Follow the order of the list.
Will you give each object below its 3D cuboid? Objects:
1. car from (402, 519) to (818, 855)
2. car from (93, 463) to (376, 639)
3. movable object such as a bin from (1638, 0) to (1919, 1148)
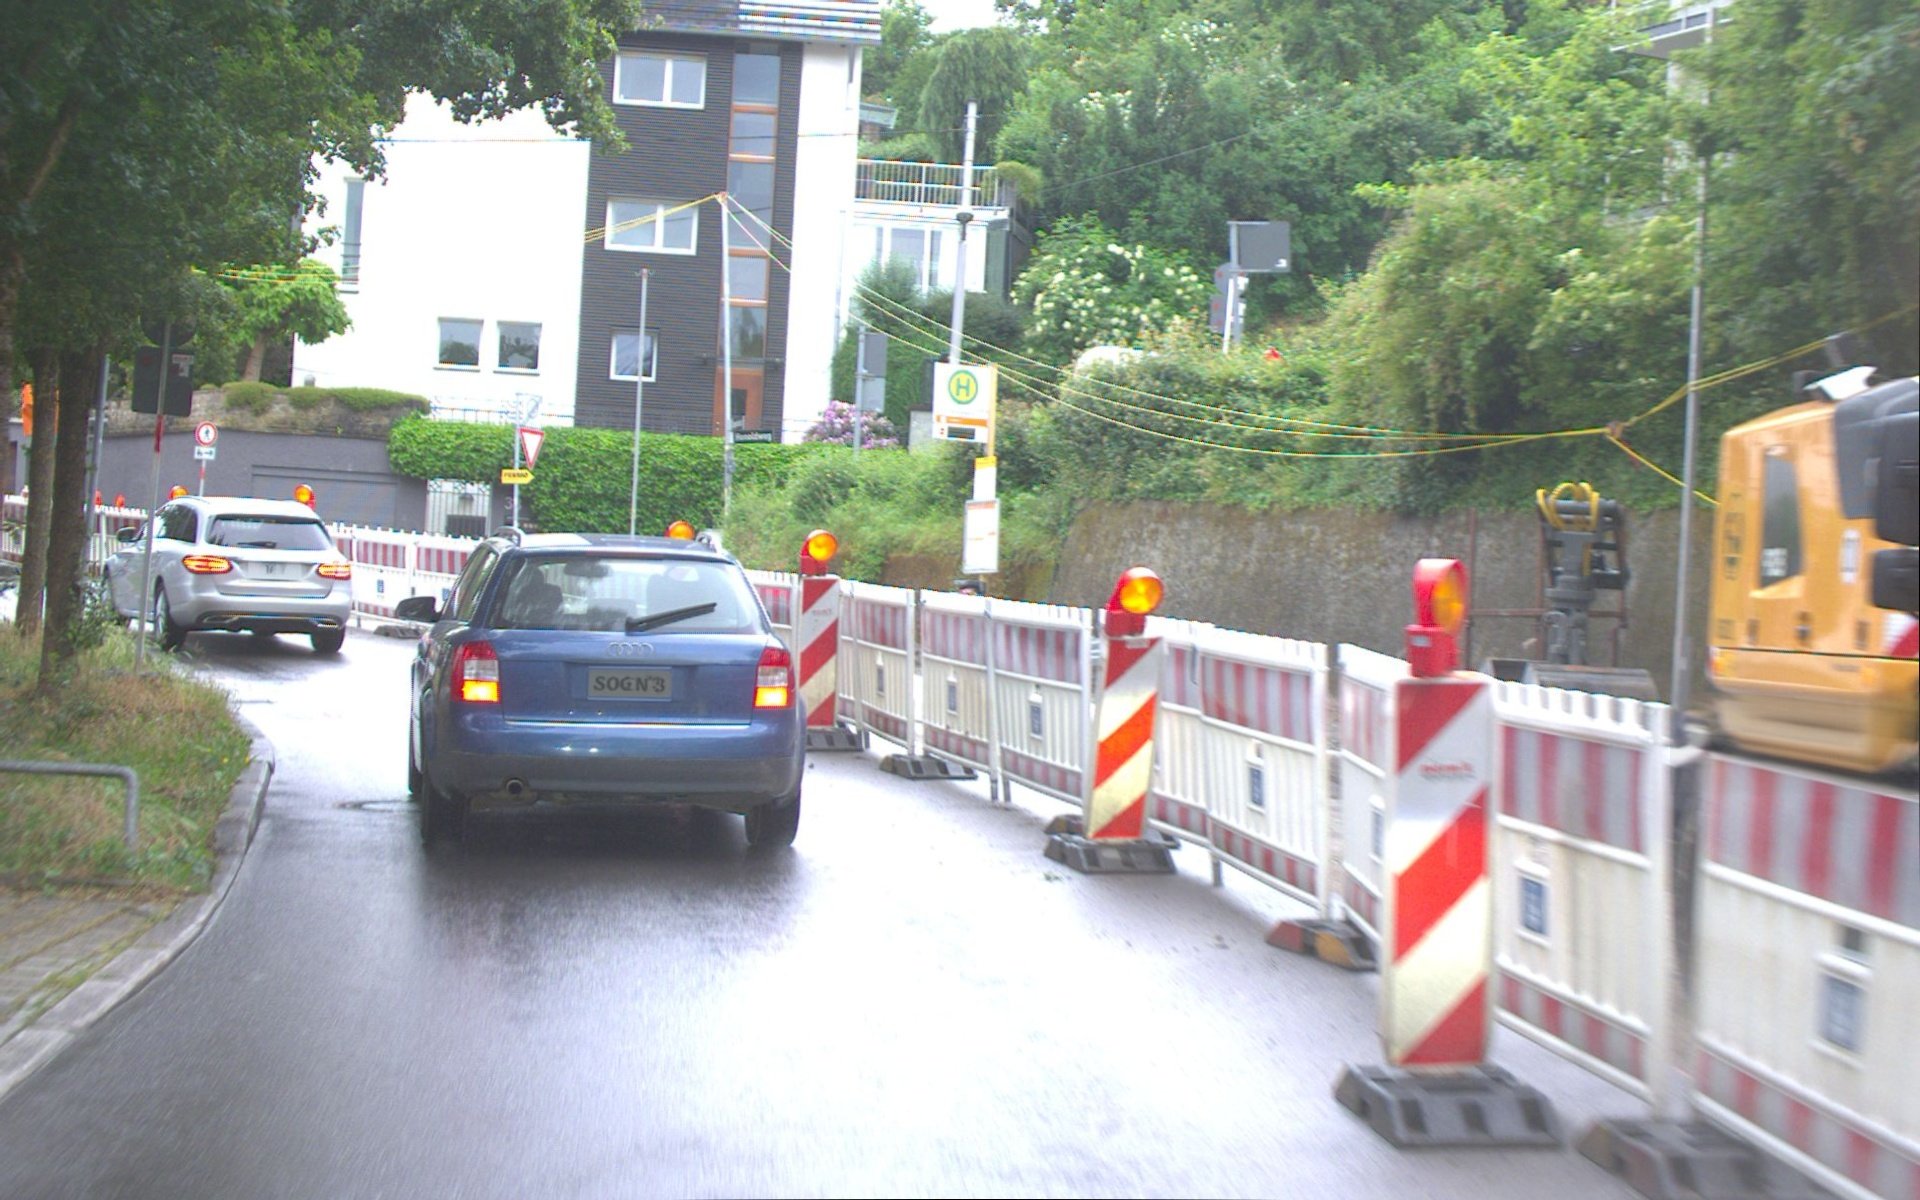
[{"bbox_3d":[-1.821,0.345,16.808,1.785,1.437,3.965,0,1,-9],"label":"car"},{"bbox_3d":[-7.299,-0.517,34.275,1.926,1.612,4.322,1,1,-23],"label":"car"},{"bbox_3d":[4.331,-0.331,10.646,2.819,4.000,7.328,1,1,-1],"label":"movable object such as a bin"}]
